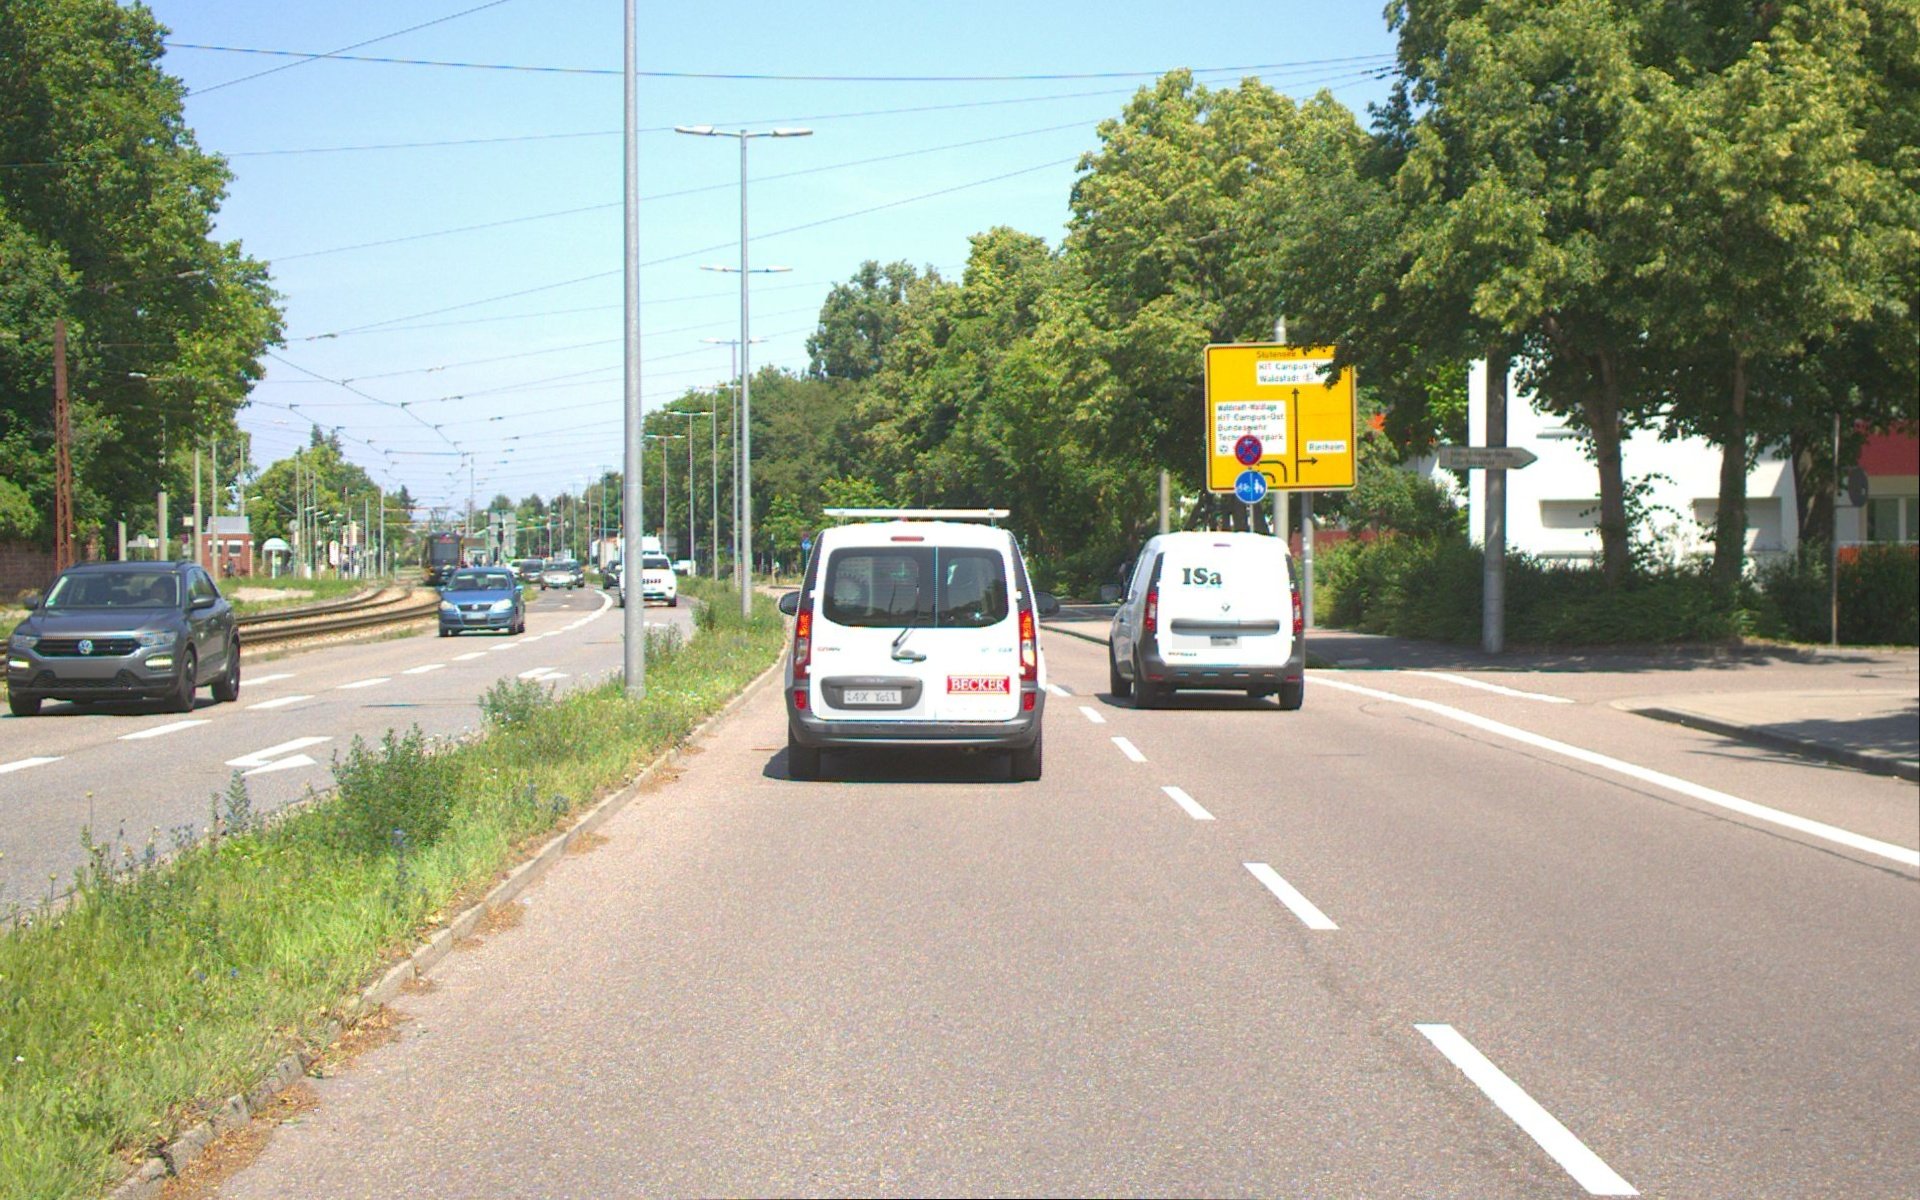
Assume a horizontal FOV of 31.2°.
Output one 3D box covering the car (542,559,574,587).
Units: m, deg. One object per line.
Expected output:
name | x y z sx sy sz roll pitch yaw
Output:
car | -23.376 -1.589 200.059 1.746 1.562 4.001 1 0 -5

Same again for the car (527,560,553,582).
car | -30.885 -2.121 252.717 1.746 1.562 4.001 1 0 -5

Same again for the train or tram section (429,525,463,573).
train or tram section | -34.994 -3.426 233.882 1.993 3.076 16.171 1 0 -9

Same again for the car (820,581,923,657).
car | -1.500 0.303 59.166 1.692 1.211 3.589 1 1 -1

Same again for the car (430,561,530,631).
car | -10.194 -0.105 73.251 1.697 1.434 4.000 -1 1 -2

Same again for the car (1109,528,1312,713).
car | 2.568 0.180 36.036 1.727 1.782 4.064 1 1 -1

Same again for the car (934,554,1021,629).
car | 0.384 -0.209 76.504 1.835 1.563 4.000 1 1 0

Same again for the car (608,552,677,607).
car | -10.639 -0.717 115.483 1.993 1.809 4.000 0 1 -1

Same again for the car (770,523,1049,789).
car | -0.336 0.336 25.029 1.821 1.734 4.396 1 1 0

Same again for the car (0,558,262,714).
car | -8.619 0.331 35.930 1.697 1.507 4.066 0 1 2

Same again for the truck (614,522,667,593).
truck | -14.709 -1.967 158.420 1.993 3.202 5.312 0 1 -1
